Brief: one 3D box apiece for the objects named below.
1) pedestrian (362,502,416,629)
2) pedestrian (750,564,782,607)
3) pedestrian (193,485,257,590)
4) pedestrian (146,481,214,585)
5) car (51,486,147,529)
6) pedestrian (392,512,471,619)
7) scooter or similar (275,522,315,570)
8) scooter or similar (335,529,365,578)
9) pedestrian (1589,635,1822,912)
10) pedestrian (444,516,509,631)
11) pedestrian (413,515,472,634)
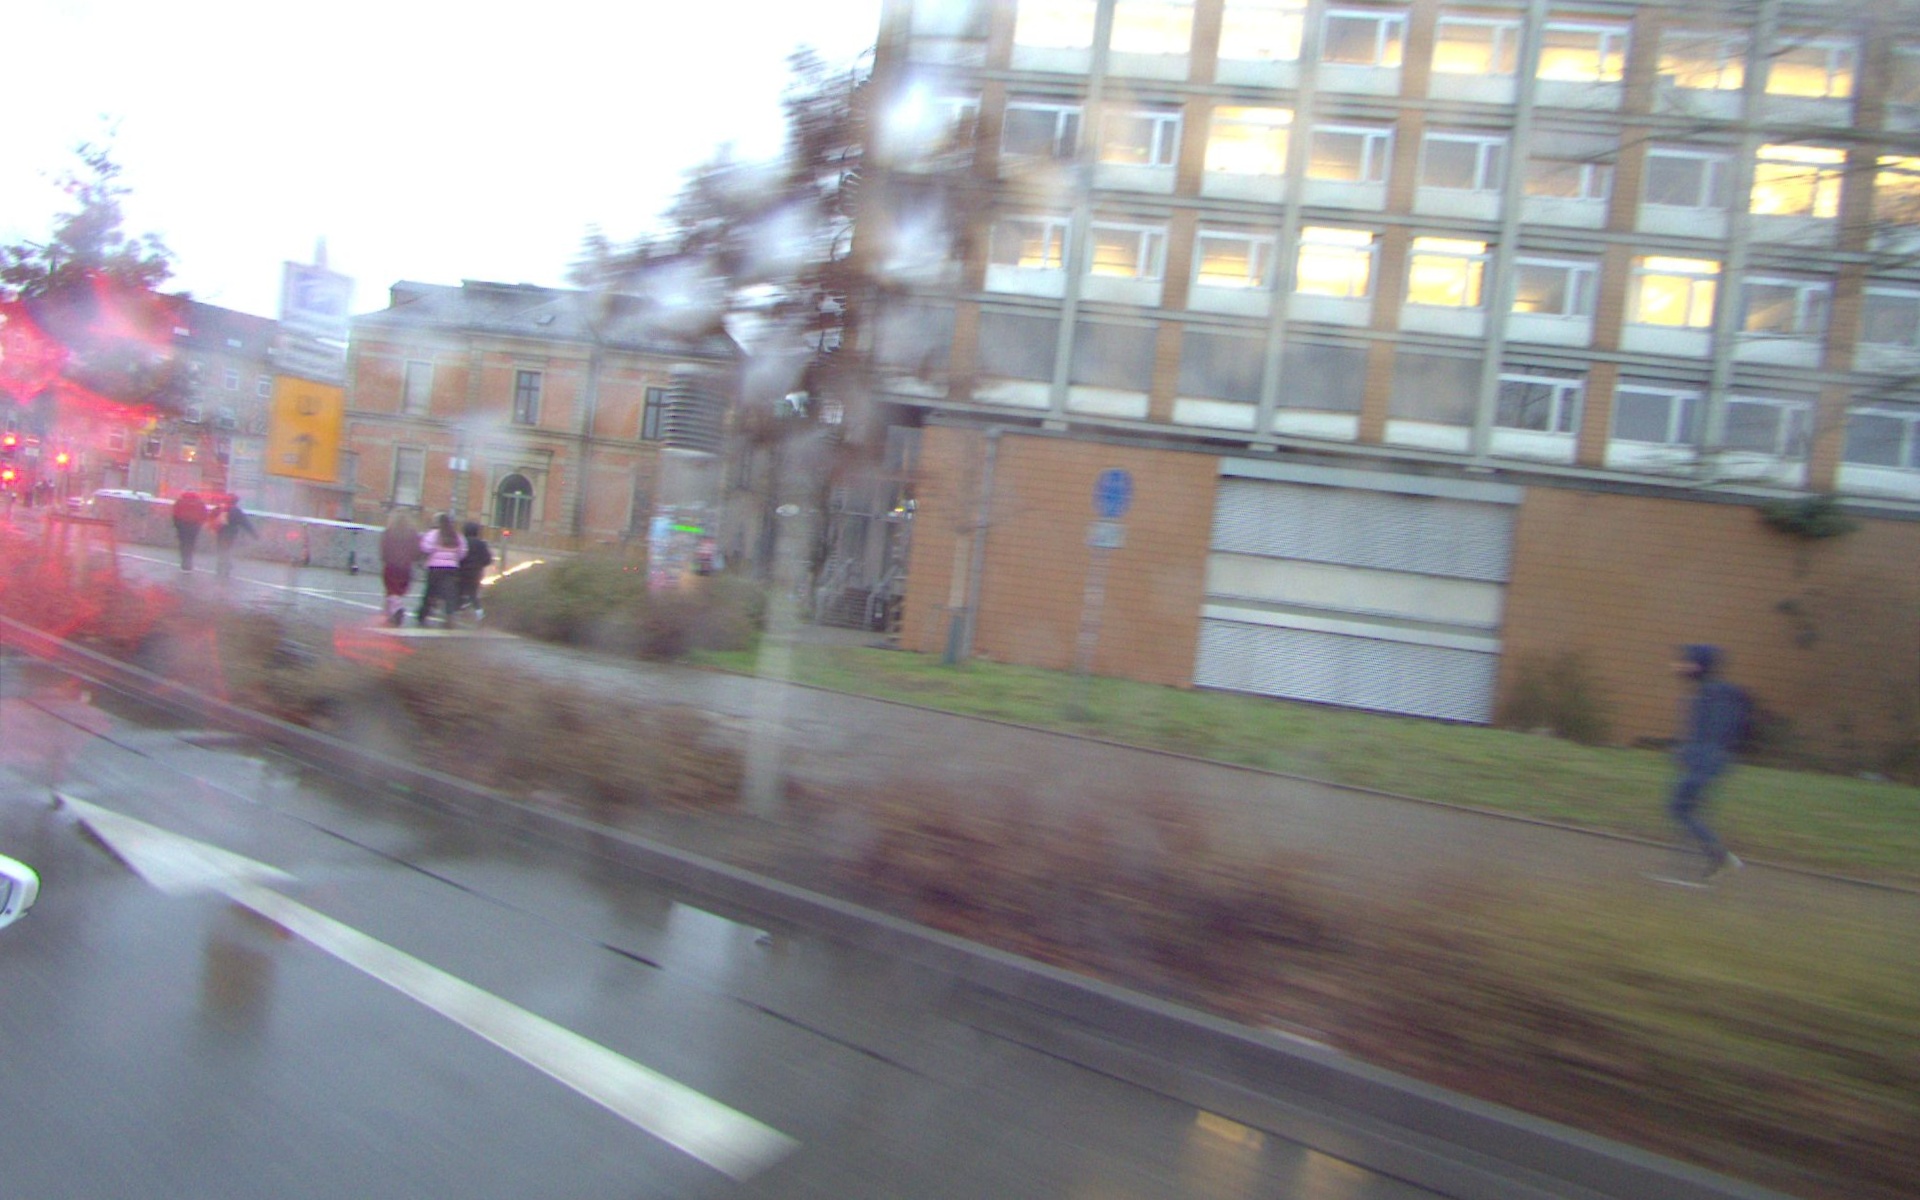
[{"bbox_3d":[-8.504,-0.508,14.980,0.579,1.804,0.763,4,2,-31],"label":"pedestrian"},{"bbox_3d":[-8.447,-0.633,43.852,0.788,1.726,0.916,7,1,26],"label":"pedestrian"},{"bbox_3d":[-15.292,-1.302,20.949,0.802,2.039,0.753,8,2,-31],"label":"pedestrian"},{"bbox_3d":[-15.814,-1.354,20.418,0.802,1.954,0.753,8,2,-31],"label":"pedestrian"},{"bbox_3d":[-55.271,-5.908,64.622,1.885,2.039,4.394,7,1,42],"label":"car"},{"bbox_3d":[-9.597,-0.611,18.301,0.735,1.814,0.854,7,1,17],"label":"pedestrian"},{"bbox_3d":[-18.196,-1.467,27.550,0.507,1.229,1.377,6,0,-20],"label":"scooter or similar"},{"bbox_3d":[-16.277,-1.250,26.880,0.508,1.229,1.373,6,0,-28],"label":"scooter or similar"},{"bbox_3d":[5.254,1.163,7.189,1.052,1.710,0.808,7,2,28],"label":"pedestrian"},{"bbox_3d":[-7.635,-0.419,15.880,0.712,1.709,0.754,6,1,-31],"label":"pedestrian"},{"bbox_3d":[-7.856,-0.387,15.263,0.662,1.710,0.606,4,4,-31],"label":"pedestrian"}]
